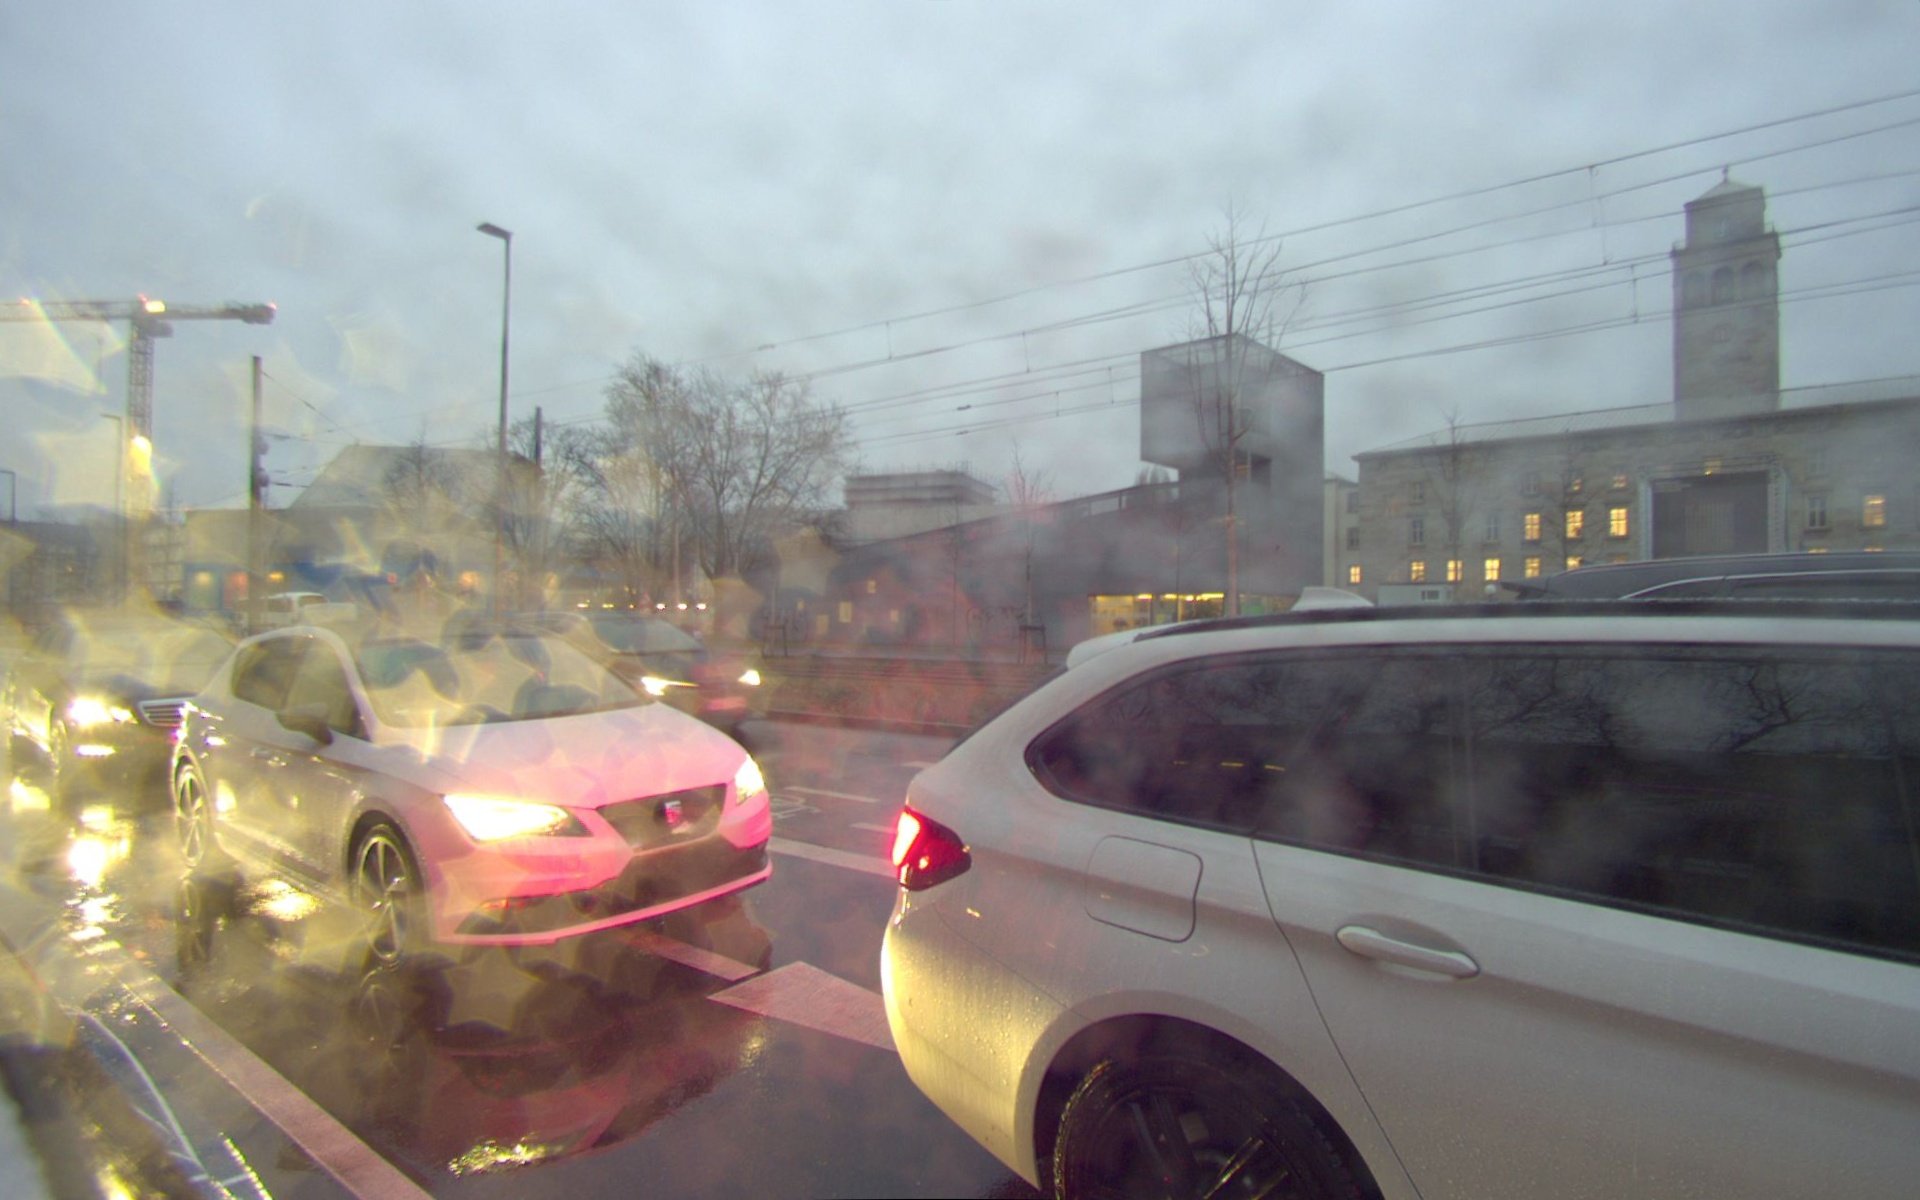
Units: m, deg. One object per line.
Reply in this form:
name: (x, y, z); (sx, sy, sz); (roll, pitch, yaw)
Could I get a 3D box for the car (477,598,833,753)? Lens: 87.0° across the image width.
car: (-3.794, 0.768, 12.154); (4.659, 1.519, 1.830); (0, -1, 39)

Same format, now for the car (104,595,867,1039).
car: (-2.832, 0.767, 5.578); (4.497, 1.498, 1.926); (-1, 0, 37)

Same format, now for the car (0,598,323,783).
car: (-8.489, 0.783, 10.399); (4.501, 1.498, 1.974); (-1, -2, 39)

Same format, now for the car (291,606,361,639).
car: (-38.044, 1.328, 60.700); (3.989, 1.910, 2.072); (-1, -2, 34)

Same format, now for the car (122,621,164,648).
car: (-66.637, 2.775, 82.527); (3.998, 2.029, 1.973); (-1, 0, 41)

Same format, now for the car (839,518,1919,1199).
car: (2.084, 0.668, 1.663); (4.557, 1.498, 1.996); (-1, -2, 41)

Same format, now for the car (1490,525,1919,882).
car: (5.228, 0.470, 4.997); (4.289, 1.596, 1.946); (-1, -1, 42)
